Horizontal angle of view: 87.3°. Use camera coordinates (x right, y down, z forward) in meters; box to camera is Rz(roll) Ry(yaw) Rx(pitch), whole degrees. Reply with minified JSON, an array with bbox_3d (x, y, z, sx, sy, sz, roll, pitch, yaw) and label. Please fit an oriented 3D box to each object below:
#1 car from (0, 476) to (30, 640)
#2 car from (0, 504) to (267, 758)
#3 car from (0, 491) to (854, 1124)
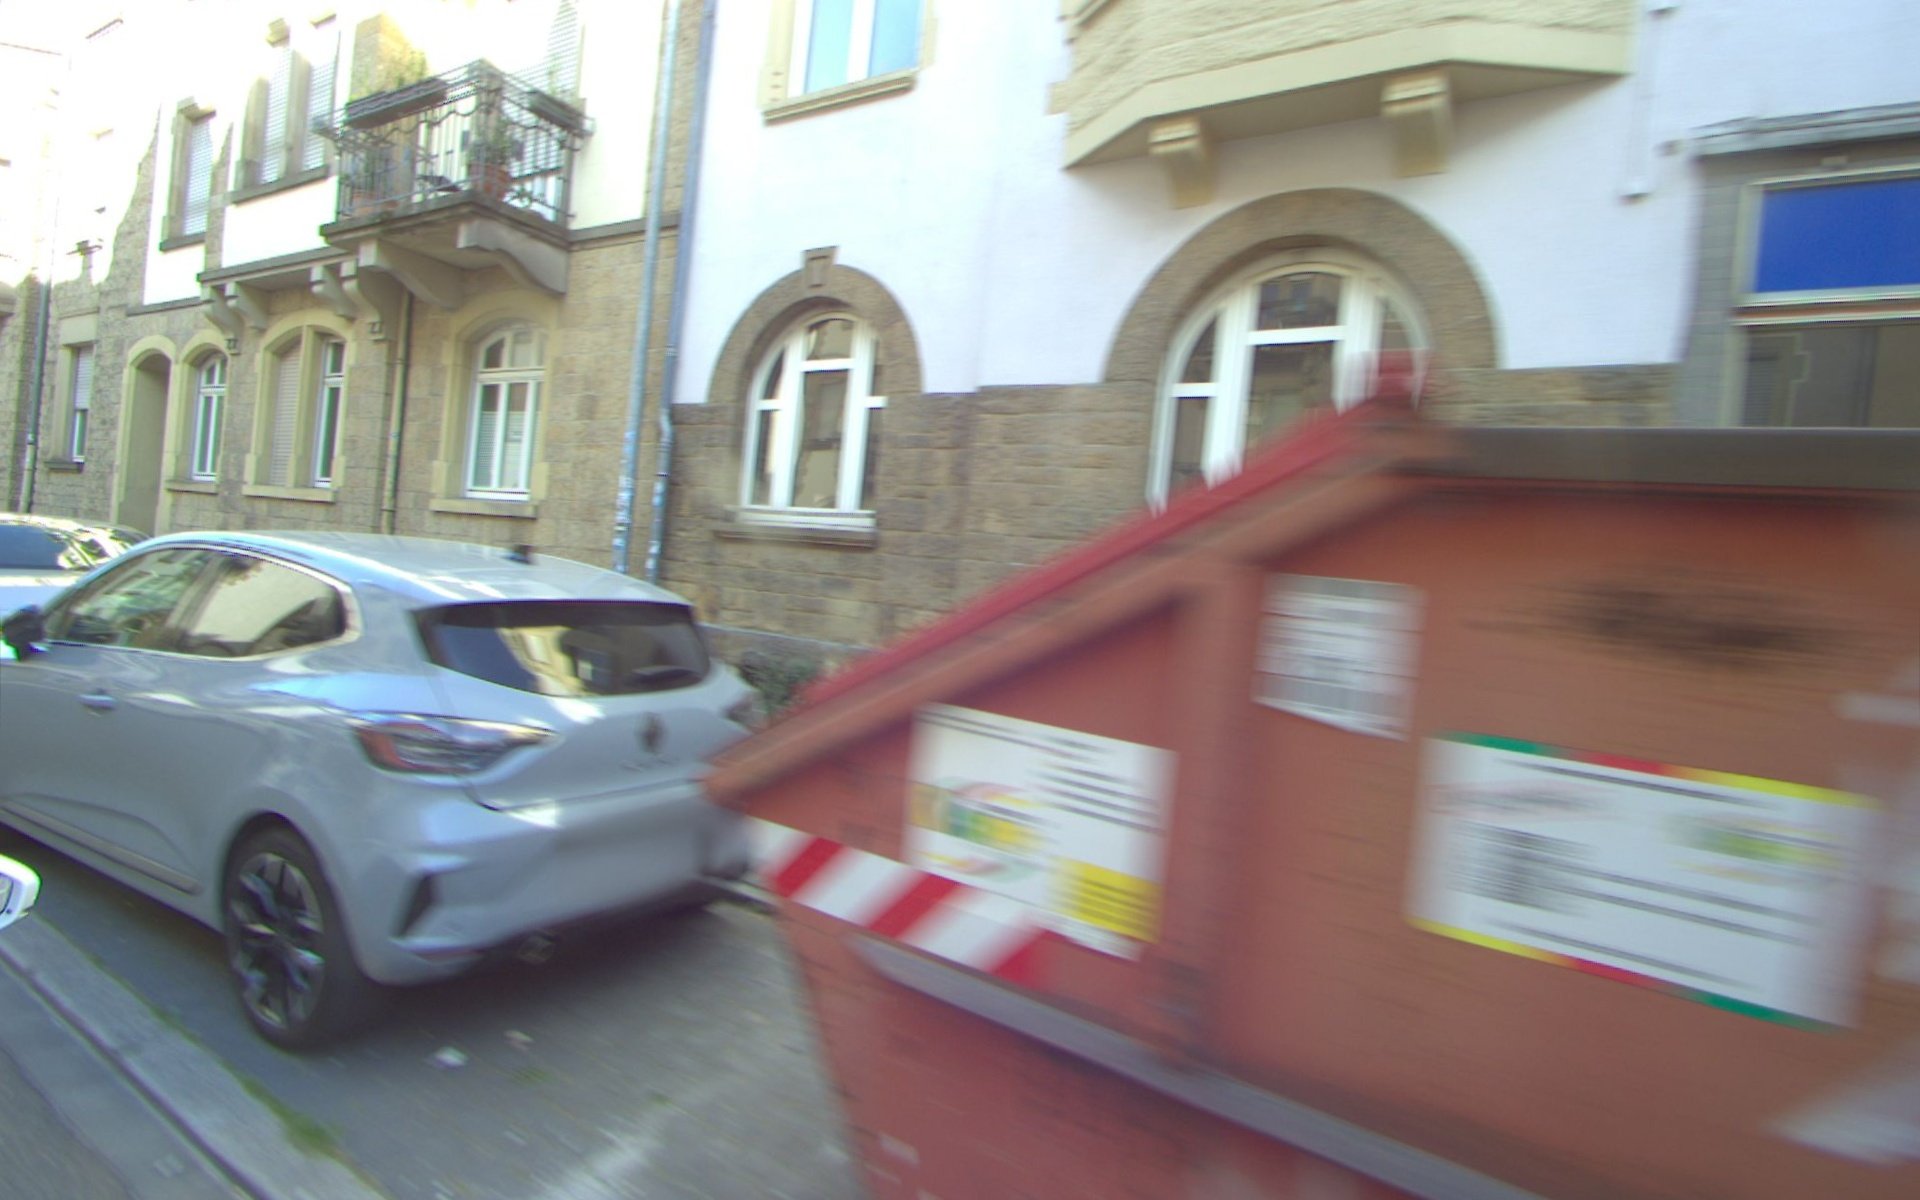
[{"bbox_3d":[-10.648,-0.607,9.510,4.188,1.461,1.652,7,1,32],"label":"car"},{"bbox_3d":[-6.387,0.029,6.615,3.878,1.271,1.693,7,1,34],"label":"car"},{"bbox_3d":[-2.550,0.449,4.194,3.742,1.447,1.788,7,0,30],"label":"car"}]
